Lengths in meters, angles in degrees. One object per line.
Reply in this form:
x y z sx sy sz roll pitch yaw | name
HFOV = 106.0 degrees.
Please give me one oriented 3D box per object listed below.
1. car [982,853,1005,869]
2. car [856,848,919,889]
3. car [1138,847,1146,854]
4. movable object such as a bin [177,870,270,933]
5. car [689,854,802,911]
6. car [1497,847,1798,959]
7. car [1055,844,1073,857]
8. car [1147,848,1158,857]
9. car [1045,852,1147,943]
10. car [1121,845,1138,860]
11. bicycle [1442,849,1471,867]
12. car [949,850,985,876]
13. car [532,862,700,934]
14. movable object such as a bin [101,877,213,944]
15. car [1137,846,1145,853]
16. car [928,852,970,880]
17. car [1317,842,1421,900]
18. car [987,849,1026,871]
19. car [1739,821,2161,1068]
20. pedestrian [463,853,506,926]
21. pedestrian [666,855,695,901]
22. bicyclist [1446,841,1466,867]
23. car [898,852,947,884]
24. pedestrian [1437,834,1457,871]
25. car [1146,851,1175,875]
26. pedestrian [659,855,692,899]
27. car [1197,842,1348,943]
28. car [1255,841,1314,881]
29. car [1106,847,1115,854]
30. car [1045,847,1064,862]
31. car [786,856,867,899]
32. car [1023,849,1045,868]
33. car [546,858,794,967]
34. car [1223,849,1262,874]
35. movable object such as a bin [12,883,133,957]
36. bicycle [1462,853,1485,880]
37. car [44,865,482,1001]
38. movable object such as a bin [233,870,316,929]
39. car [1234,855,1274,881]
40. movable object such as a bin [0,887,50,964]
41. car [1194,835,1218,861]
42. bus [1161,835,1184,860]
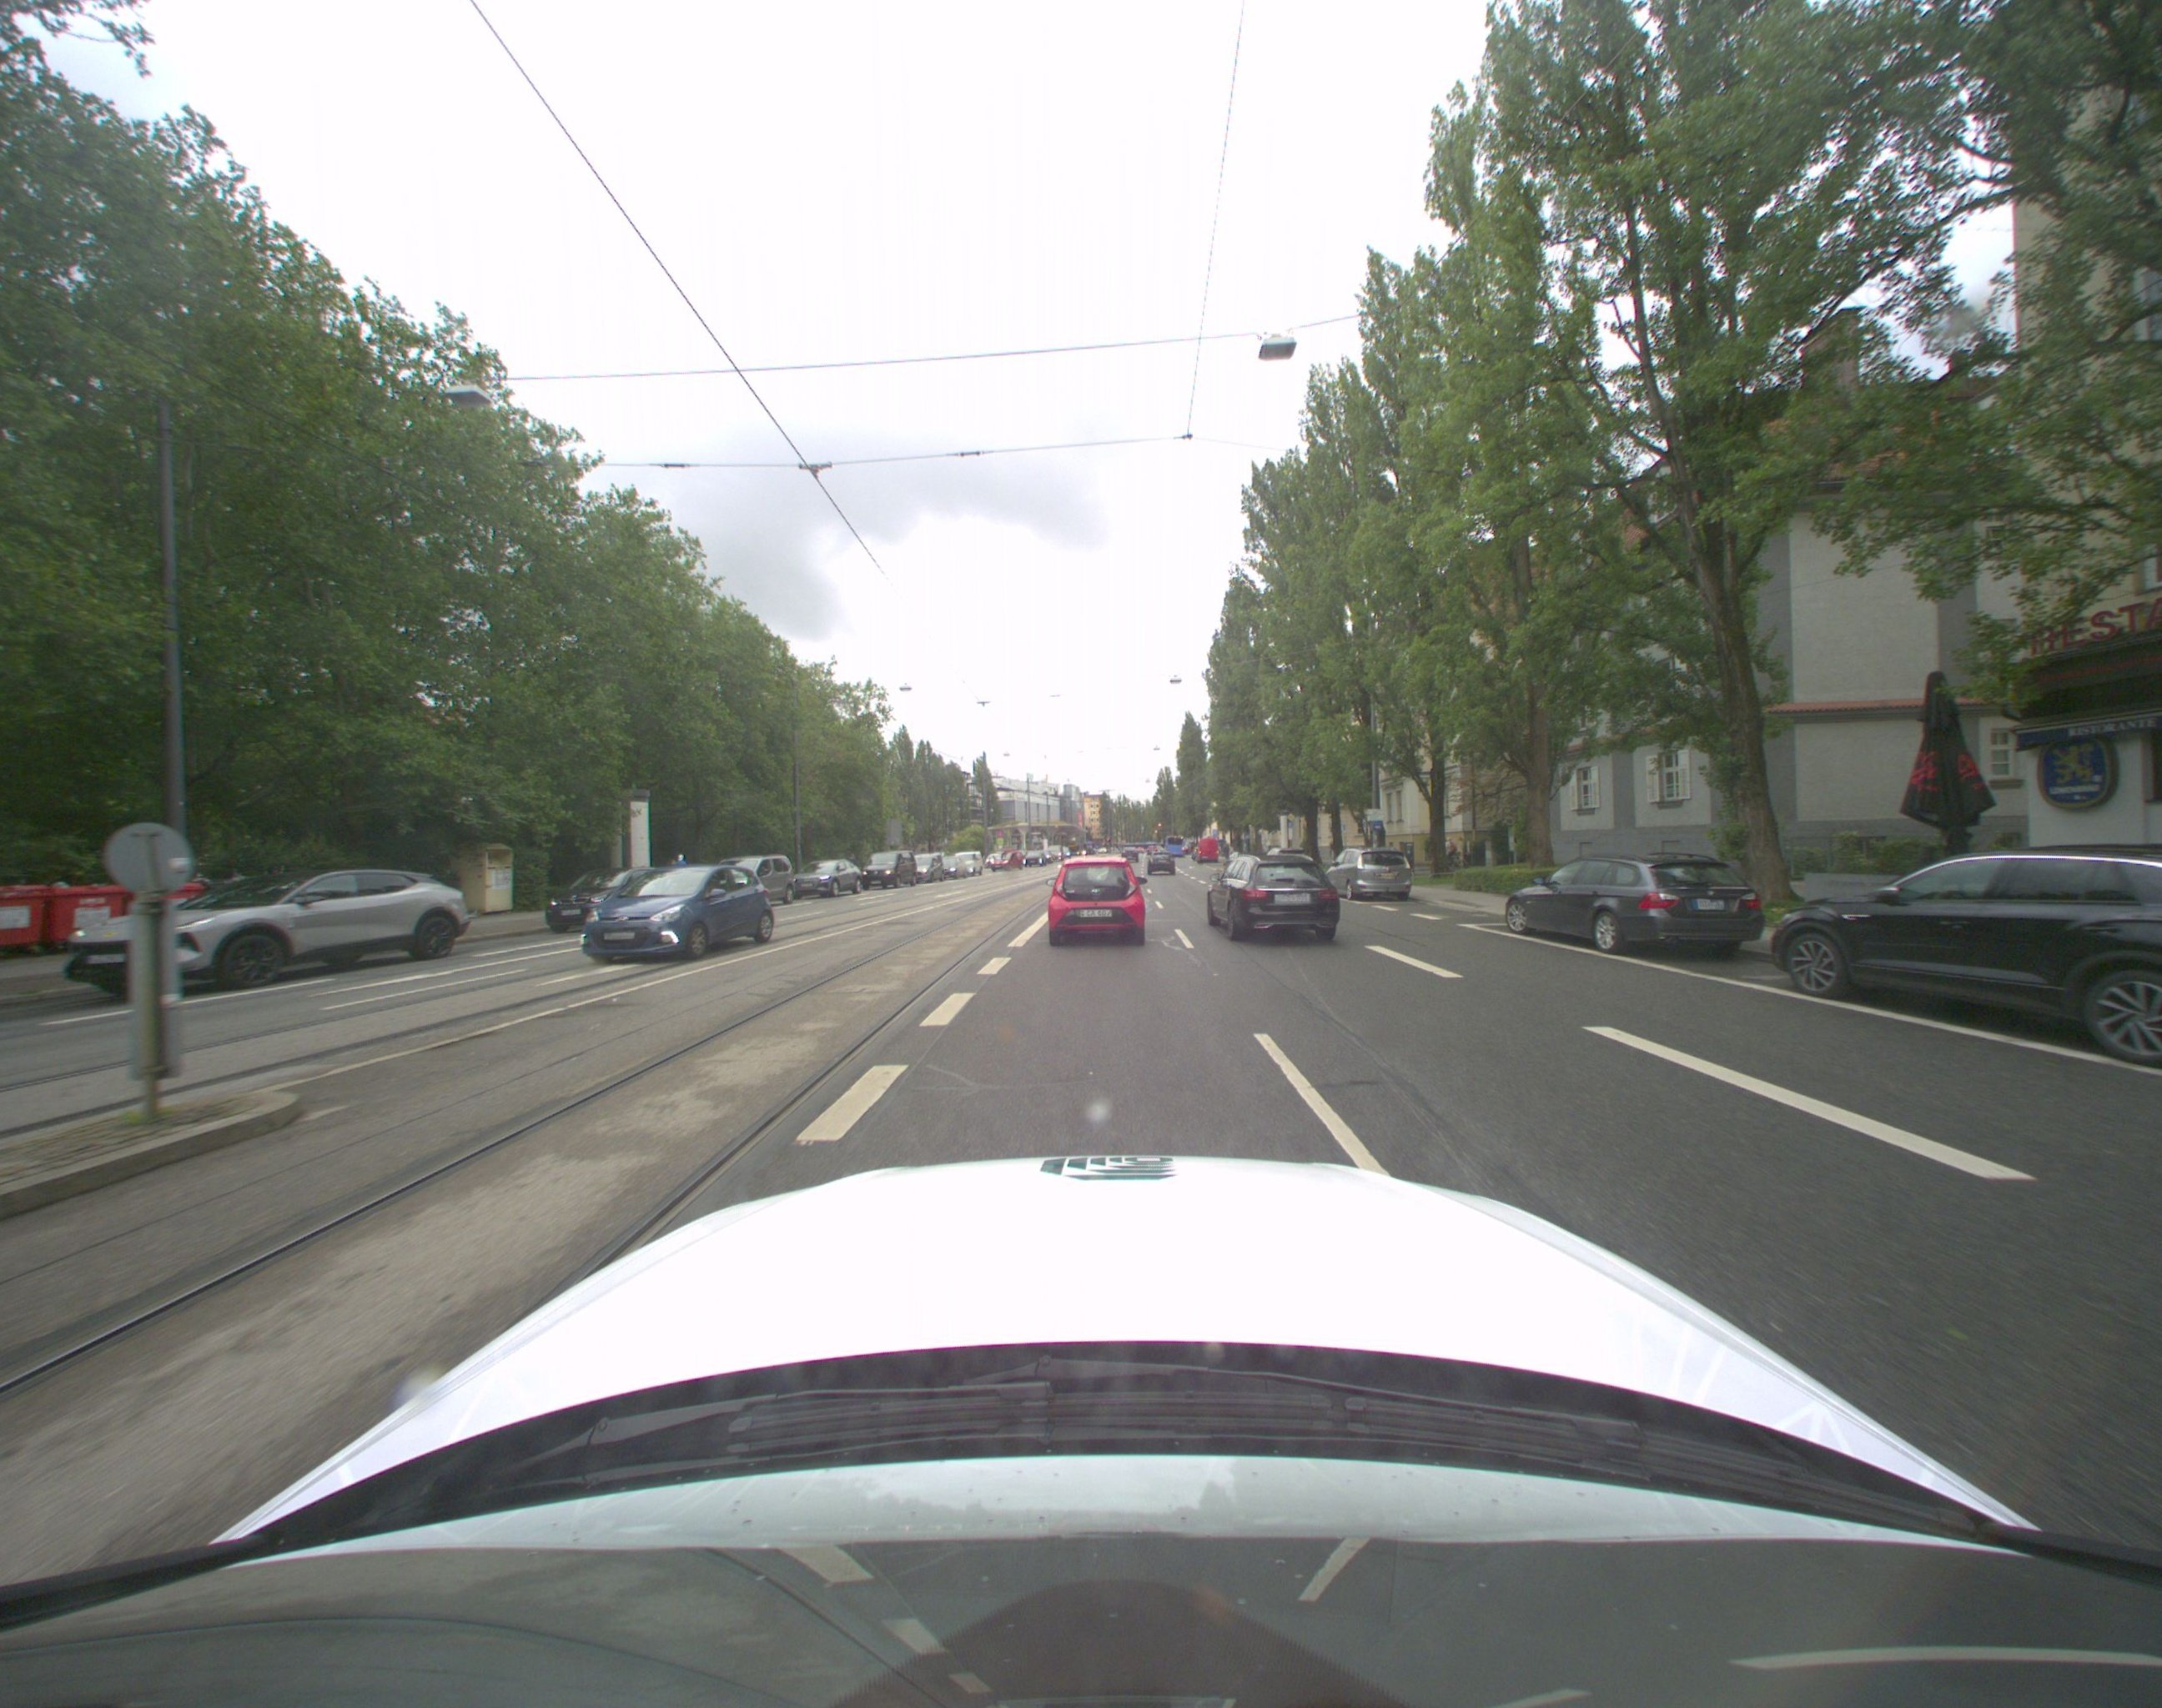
-9.194 0.734 85.615 1.793 1.530 4.520 -3 0 1 | car
-10.202 0.741 43.403 1.791 1.991 5.044 -2 0 4 | car
16.013 -0.918 213.183 1.794 1.596 4.007 -1 -3 7 | car
-19.883 1.084 18.918 0.931 1.353 1.082 3 0 -1 | movable object such as a bin
-11.579 0.913 28.465 1.791 1.779 4.477 -2 0 4 | car
8.475 0.628 12.772 1.792 1.398 4.384 -2 0 2 | car
-2.373 -0.485 114.528 1.790 1.665 4.527 -3 0 6 | car
12.530 -0.321 142.598 1.773 1.486 4.004 -1 0 4 | car
0.277 0.701 14.790 1.623 1.440 3.377 0 0 1 | car
5.375 -0.156 89.997 1.728 1.549 4.581 -2 0 3 | car
19.233 0.194 41.770 0.650 0.923 1.904 -2 0 2 | bicycle
-8.816 0.655 63.285 1.792 1.861 4.635 -3 0 3 | car
-12.421 1.097 22.124 1.791 1.667 4.359 -2 0 4 | car
-19.959 1.196 17.629 0.931 1.353 1.277 0 0 -1 | movable object such as a bin
15.115 -1.075 206.144 1.794 1.596 4.007 -1 -3 7 | car
-9.126 0.789 56.597 1.791 1.788 4.523 -3 0 4 | car
8.916 0.494 25.644 1.792 1.612 4.550 -2 0 2 | car
-6.713 0.525 73.918 1.785 1.788 4.539 -3 0 17 | car
8.017 0.564 6.731 1.792 1.612 4.308 -2 0 2 | car
-16.937 0.986 23.142 0.610 2.013 0.681 -1 2 9 | pedestrian
-15.996 0.946 32.513 0.659 1.789 0.821 -1 0 12 | pedestrian
19.243 -0.006 41.797 0.657 1.314 0.706 -2 0 2 | bicyclist
-9.771 0.825 50.508 1.791 1.788 4.523 -3 0 4 | car
17.474 -0.088 38.893 0.588 1.738 0.825 -1 2 3 | pedestrian
5.255 0.573 54.271 1.773 1.486 4.004 -1 0 4 | car
-16.291 0.914 32.762 0.659 1.684 0.992 -1 2 12 | pedestrian
3.381 0.580 15.302 1.856 1.549 4.706 -2 1 2 | car
9.733 0.320 39.244 1.792 1.742 4.703 -2 0 2 | car
6.570 -0.718 179.444 1.773 1.486 4.004 -1 0 4 | car
-3.287 0.024 100.579 1.791 1.665 4.524 -3 0 4 | car
-10.938 0.970 35.354 1.791 1.634 4.593 -2 0 4 | car
-4.761 0.406 82.950 1.792 1.788 4.521 -3 0 2 | car
-6.758 0.863 14.043 1.791 1.522 4.359 -2 0 4 | car
10.668 0.477 54.053 1.793 1.508 4.450 -1 0 1 | car
-20.020 1.282 16.200 0.931 1.353 1.128 2 0 -1 | movable object such as a bin
15.123 0.481 31.386 0.353 0.988 1.230 -1 2 4 | bicycle
-12.597 1.078 13.196 1.791 1.642 5.004 -2 0 4 | car
-19.843 1.105 20.073 0.931 1.353 1.082 1 0 -1 | movable object such as a bin
10.475 0.814 49.533 1.791 1.508 4.004 -1 0 4 | car
-19.952 1.305 14.867 0.931 1.353 1.013 -1 0 -1 | movable object such as a bin
12.876 -0.641 84.137 1.985 2.574 4.685 -1 2 4 | car
13.625 -1.050 121.526 2.893 3.395 10.818 -1 2 4 | bus
